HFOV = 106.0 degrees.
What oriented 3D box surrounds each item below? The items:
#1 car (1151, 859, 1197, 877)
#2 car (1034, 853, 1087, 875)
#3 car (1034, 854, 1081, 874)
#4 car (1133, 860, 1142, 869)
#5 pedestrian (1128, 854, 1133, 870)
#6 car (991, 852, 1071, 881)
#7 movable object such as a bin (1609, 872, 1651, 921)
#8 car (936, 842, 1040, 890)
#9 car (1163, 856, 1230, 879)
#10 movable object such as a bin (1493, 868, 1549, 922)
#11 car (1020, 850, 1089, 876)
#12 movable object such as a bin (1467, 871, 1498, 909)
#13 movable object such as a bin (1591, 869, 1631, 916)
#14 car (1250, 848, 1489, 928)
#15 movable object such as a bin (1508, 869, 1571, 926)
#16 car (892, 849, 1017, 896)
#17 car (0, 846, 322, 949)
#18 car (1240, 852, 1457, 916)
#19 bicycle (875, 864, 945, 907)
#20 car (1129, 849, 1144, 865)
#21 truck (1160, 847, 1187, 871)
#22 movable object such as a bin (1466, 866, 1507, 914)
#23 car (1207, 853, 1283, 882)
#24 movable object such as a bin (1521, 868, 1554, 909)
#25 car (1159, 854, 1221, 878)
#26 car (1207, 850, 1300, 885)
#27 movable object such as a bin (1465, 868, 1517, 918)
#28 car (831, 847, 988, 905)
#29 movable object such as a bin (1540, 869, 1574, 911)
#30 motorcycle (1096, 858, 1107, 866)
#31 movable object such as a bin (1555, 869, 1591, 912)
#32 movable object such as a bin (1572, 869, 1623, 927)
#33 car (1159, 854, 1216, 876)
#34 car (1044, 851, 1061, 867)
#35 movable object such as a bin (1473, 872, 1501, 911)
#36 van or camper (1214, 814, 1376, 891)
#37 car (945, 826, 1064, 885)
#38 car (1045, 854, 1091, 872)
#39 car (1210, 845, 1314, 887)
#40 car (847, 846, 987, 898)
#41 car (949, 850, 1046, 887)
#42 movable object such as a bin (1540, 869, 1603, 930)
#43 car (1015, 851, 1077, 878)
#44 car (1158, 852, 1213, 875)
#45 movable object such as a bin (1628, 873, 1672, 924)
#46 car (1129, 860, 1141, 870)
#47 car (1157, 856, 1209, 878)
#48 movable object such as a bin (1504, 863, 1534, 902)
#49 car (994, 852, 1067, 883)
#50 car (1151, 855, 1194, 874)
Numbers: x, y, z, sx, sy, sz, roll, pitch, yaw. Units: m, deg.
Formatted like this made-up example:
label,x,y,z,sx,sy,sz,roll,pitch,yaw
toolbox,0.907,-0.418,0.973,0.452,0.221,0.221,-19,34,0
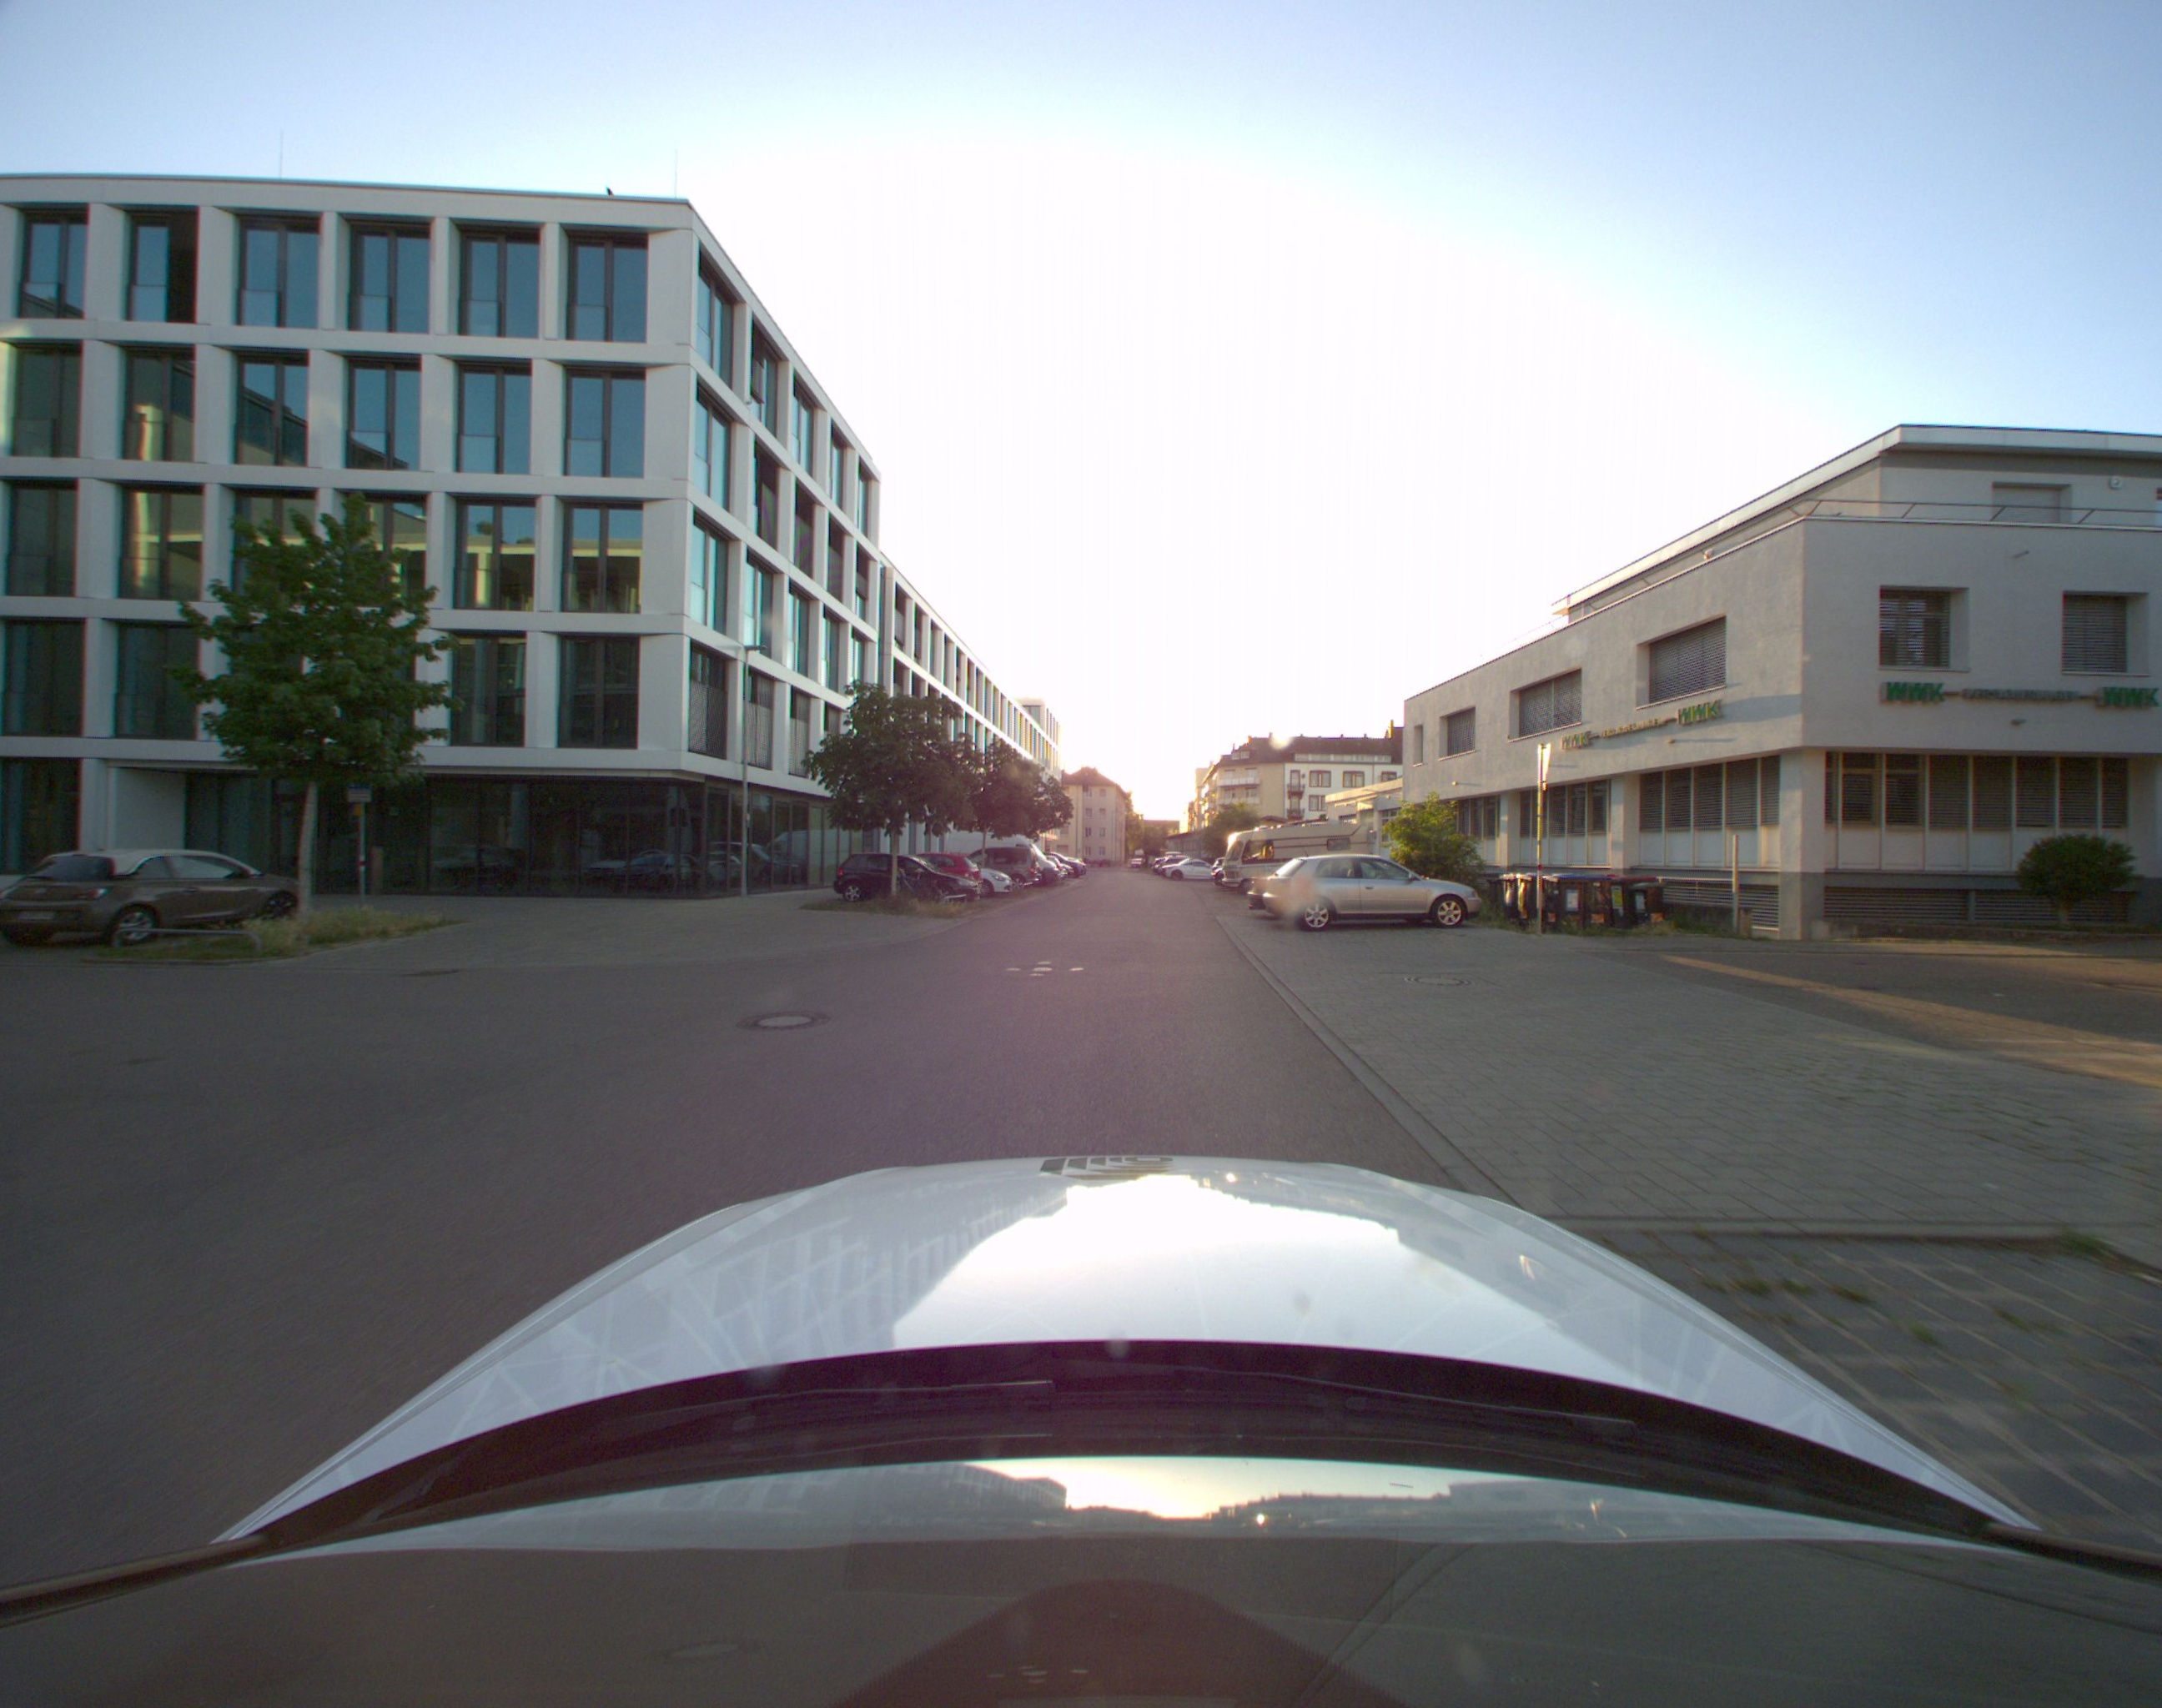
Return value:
label,x,y,z,sx,sy,sz,roll,pitch,yaw
car,7.987,1.224,70.157,3.746,1.444,1.845,2,-1,1
car,-1.517,0.738,60.305,3.647,1.511,1.700,2,0,7
car,-1.942,0.817,67.808,3.638,1.511,1.689,2,0,4
car,9.506,1.815,136.855,1.608,1.473,3.508,-1,-1,4
pedestrian,6.282,0.980,102.537,0.571,2.014,0.557,1,0,5
car,-2.820,0.697,46.610,4.287,1.495,1.797,2,0,5
movable object such as a bin,10.775,0.824,15.990,0.465,0.932,0.526,0,-1,1
car,-3.818,0.481,34.018,4.095,1.817,1.816,2,0,-1
car,7.403,0.847,52.386,4.182,1.367,1.826,1,0,5
movable object such as a bin,8.681,0.798,16.080,0.704,1.021,0.710,1,0,-6
car,-1.843,0.623,57.566,4.594,1.706,2.008,2,0,7
movable object such as a bin,9.261,0.838,18.792,0.498,0.857,0.395,1,-1,-7
movable object such as a bin,10.801,0.783,16.617,0.465,0.932,0.526,0,-1,1
car,5.561,0.622,16.070,4.042,1.407,1.896,-1,0,0
movable object such as a bin,8.537,0.795,15.170,0.755,1.021,0.710,1,0,-6
car,-4.467,0.627,29.120,4.091,1.518,1.782,2,0,3
car,-15.552,0.654,13.890,1.720,1.496,3.722,1,0,-1
car,5.951,0.648,18.484,4.301,1.333,1.896,-1,-1,0
bicycle,-4.515,0.837,21.608,1.688,1.065,0.567,2,0,4
car,11.559,0.681,169.180,2.607,3.269,7.709,-1,-1,6
truck,8.635,0.484,76.705,2.090,2.200,5.713,0,-1,2
movable object such as a bin,8.858,0.788,17.801,0.620,1.021,0.560,1,0,-6
car,8.567,0.696,42.716,3.692,1.479,1.712,-1,0,0
movable object such as a bin,10.638,0.803,18.983,0.465,0.932,0.526,0,-1,1
car,7.661,0.851,57.553,4.184,1.503,1.891,1,-1,3
car,8.082,0.644,38.363,3.994,1.564,1.711,-1,0,-2
movable object such as a bin,8.617,0.811,17.143,0.704,1.021,0.710,1,0,-6
car,-4.907,0.615,23.720,4.092,1.518,1.846,2,0,2
movable object such as a bin,10.743,0.797,18.386,0.465,0.932,0.526,0,-1,1
motorcycle,3.112,1.142,122.149,0.682,1.160,2.046,0,-1,30
movable object such as a bin,10.743,0.793,17.789,0.465,0.932,0.526,0,-1,1
movable object such as a bin,9.316,0.785,14.703,0.642,1.021,0.445,1,-1,-7
car,7.823,0.828,60.040,3.968,1.445,1.828,1,-1,2
car,-3.539,0.645,103.118,1.791,1.979,4.691,1,0,2
movable object such as a bin,9.101,0.835,18.252,0.414,0.857,0.395,1,-1,-6
van or camper,8.363,-0.051,32.254,5.760,2.864,2.487,-1,-1,0
car,-3.625,0.063,39.208,5.355,2.633,2.081,2,0,5
car,-1.138,0.807,72.172,3.908,1.511,1.690,2,0,4
car,7.825,0.538,35.589,4.219,1.741,1.971,-1,-1,6
car,-5.275,0.564,26.551,4.091,1.518,1.846,2,0,3
car,-3.681,0.641,36.447,4.095,1.499,1.774,2,0,-1
movable object such as a bin,8.612,0.788,14.316,0.642,1.021,0.710,1,0,-6
car,-2.192,0.651,51.510,3.767,1.522,1.694,2,0,2
car,8.011,0.702,62.626,3.973,1.619,1.826,2,0,-2
movable object such as a bin,10.776,0.834,15.438,0.465,0.932,0.526,0,-1,1
car,8.224,1.680,123.854,1.837,1.473,4.082,0,-1,4
car,8.168,1.025,65.314,3.970,1.609,1.939,2,0,1
movable object such as a bin,10.675,0.686,19.856,0.465,0.932,0.526,0,-1,1
car,-2.709,0.715,43.916,3.692,1.495,1.709,2,0,3
car,8.127,0.923,72.592,3.743,1.535,1.893,1,0,3
